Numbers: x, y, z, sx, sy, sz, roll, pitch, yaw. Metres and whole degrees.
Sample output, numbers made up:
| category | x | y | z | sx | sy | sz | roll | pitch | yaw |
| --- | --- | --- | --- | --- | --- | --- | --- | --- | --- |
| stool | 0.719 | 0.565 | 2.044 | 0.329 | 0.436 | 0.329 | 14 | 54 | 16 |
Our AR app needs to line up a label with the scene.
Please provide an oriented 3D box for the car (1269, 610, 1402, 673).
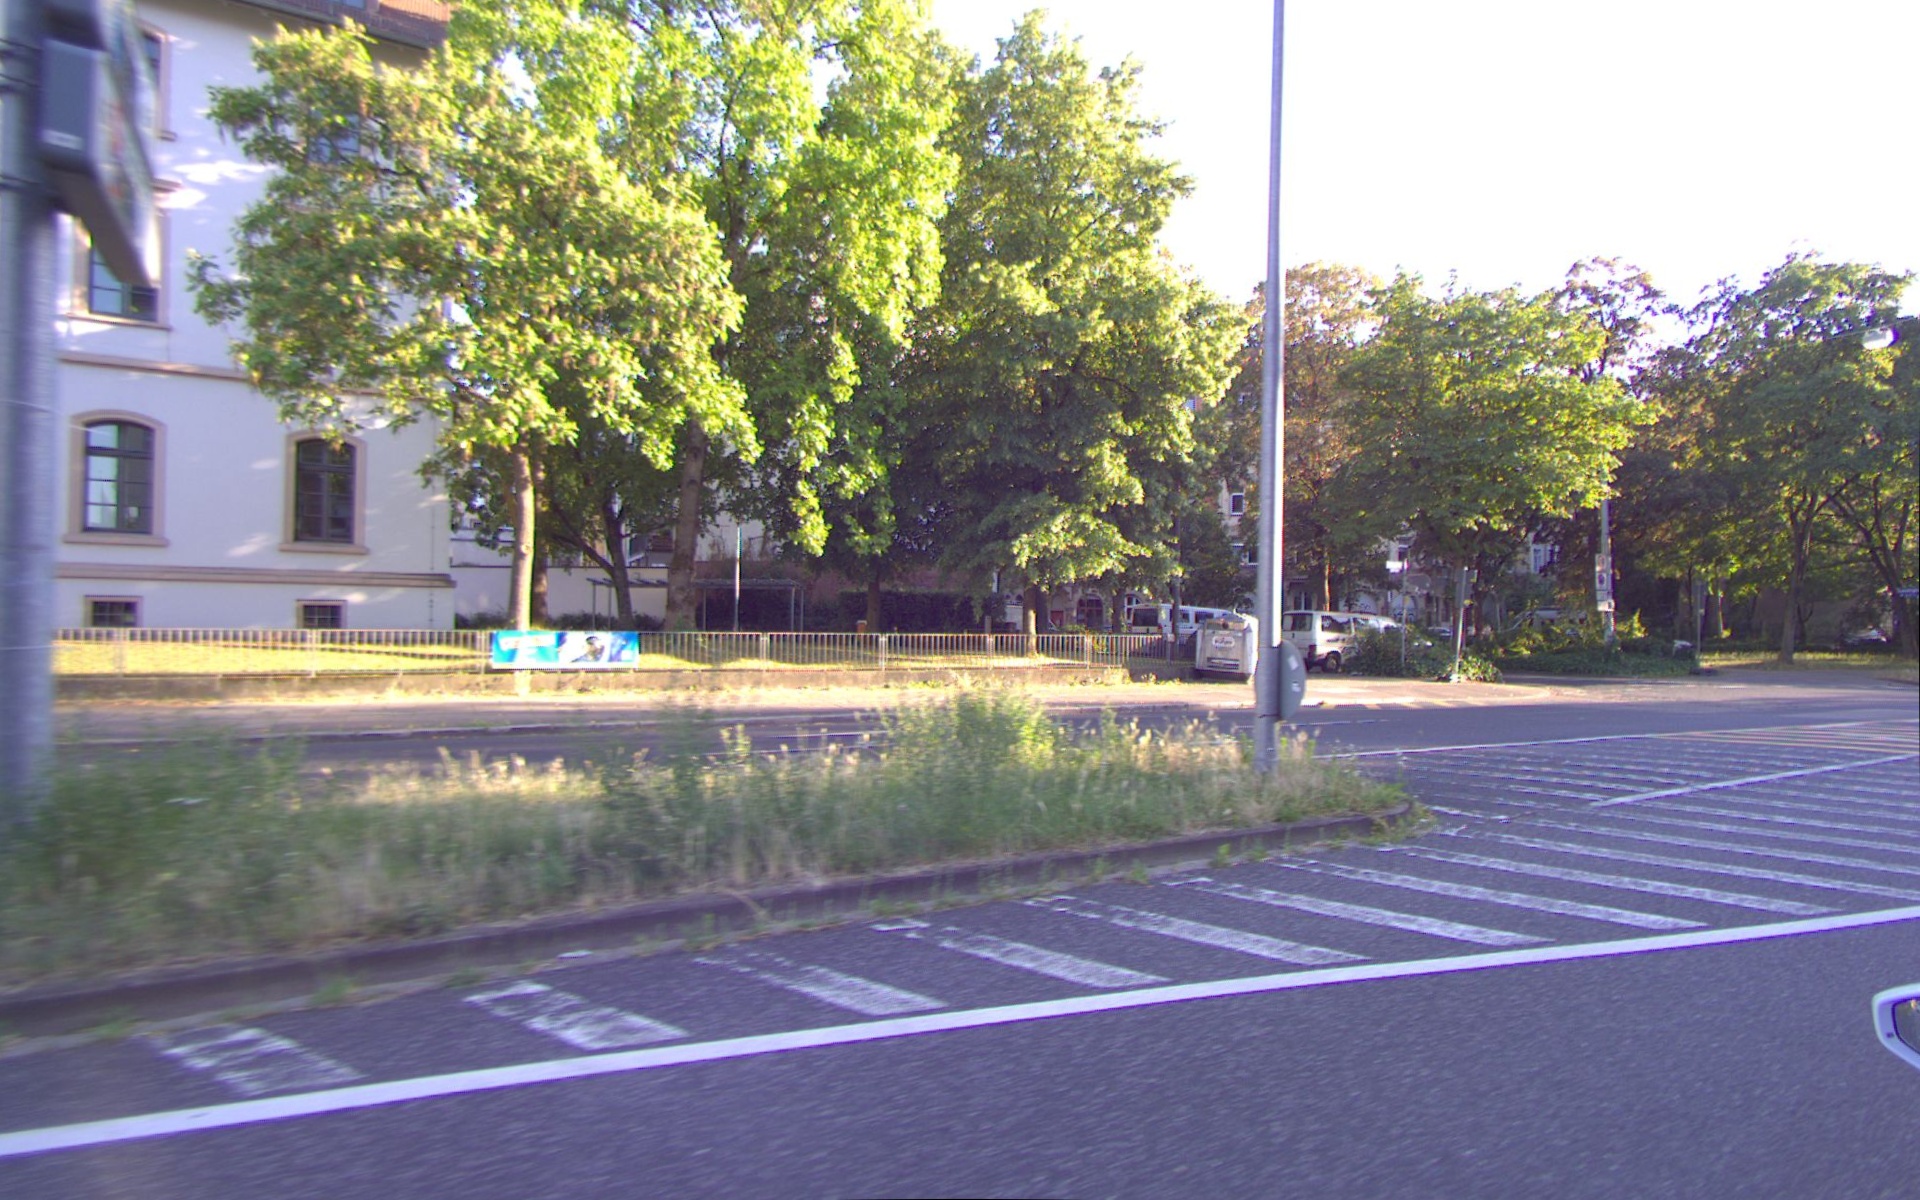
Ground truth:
| category | x | y | z | sx | sy | sz | roll | pitch | yaw |
| --- | --- | --- | --- | --- | --- | --- | --- | --- | --- |
| car | 11.753 | 1.269 | 31.438 | 3.953 | 1.819 | 1.809 | 1 | 0 | -30 |

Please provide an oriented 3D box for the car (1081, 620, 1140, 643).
| category | x | y | z | sx | sy | sz | roll | pitch | yaw |
| --- | --- | --- | --- | --- | --- | --- | --- | --- | --- |
| car | 10.165 | 2.114 | 67.972 | 3.919 | 1.416 | 1.896 | 1 | -1 | 8 |

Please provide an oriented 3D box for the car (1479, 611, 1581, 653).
| category | x | y | z | sx | sy | sz | roll | pitch | yaw |
| --- | --- | --- | --- | --- | --- | --- | --- | --- | --- |
| car | 35.900 | 1.989 | 63.417 | 5.128 | 2.518 | 2.275 | 1 | -1 | 8 |

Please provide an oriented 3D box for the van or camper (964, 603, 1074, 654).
| category | x | y | z | sx | sy | sz | roll | pitch | yaw |
| --- | --- | --- | --- | --- | --- | --- | --- | --- | --- |
| van or camper | 3.077 | 1.482 | 51.746 | 5.359 | 2.504 | 2.058 | 1 | 0 | -28 |

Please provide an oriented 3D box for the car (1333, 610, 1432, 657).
| category | x | y | z | sx | sy | sz | roll | pitch | yaw |
| --- | --- | --- | --- | --- | --- | --- | --- | --- | --- |
| car | 18.452 | 1.442 | 43.880 | 3.953 | 1.907 | 1.984 | 1 | 1 | -30 |

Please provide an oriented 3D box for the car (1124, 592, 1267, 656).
| category | x | y | z | sx | sy | sz | roll | pitch | yaw |
| --- | --- | --- | --- | --- | --- | --- | --- | --- | --- |
| car | 9.002 | 0.917 | 38.410 | 5.027 | 2.319 | 2.209 | 1 | 0 | -24 |
